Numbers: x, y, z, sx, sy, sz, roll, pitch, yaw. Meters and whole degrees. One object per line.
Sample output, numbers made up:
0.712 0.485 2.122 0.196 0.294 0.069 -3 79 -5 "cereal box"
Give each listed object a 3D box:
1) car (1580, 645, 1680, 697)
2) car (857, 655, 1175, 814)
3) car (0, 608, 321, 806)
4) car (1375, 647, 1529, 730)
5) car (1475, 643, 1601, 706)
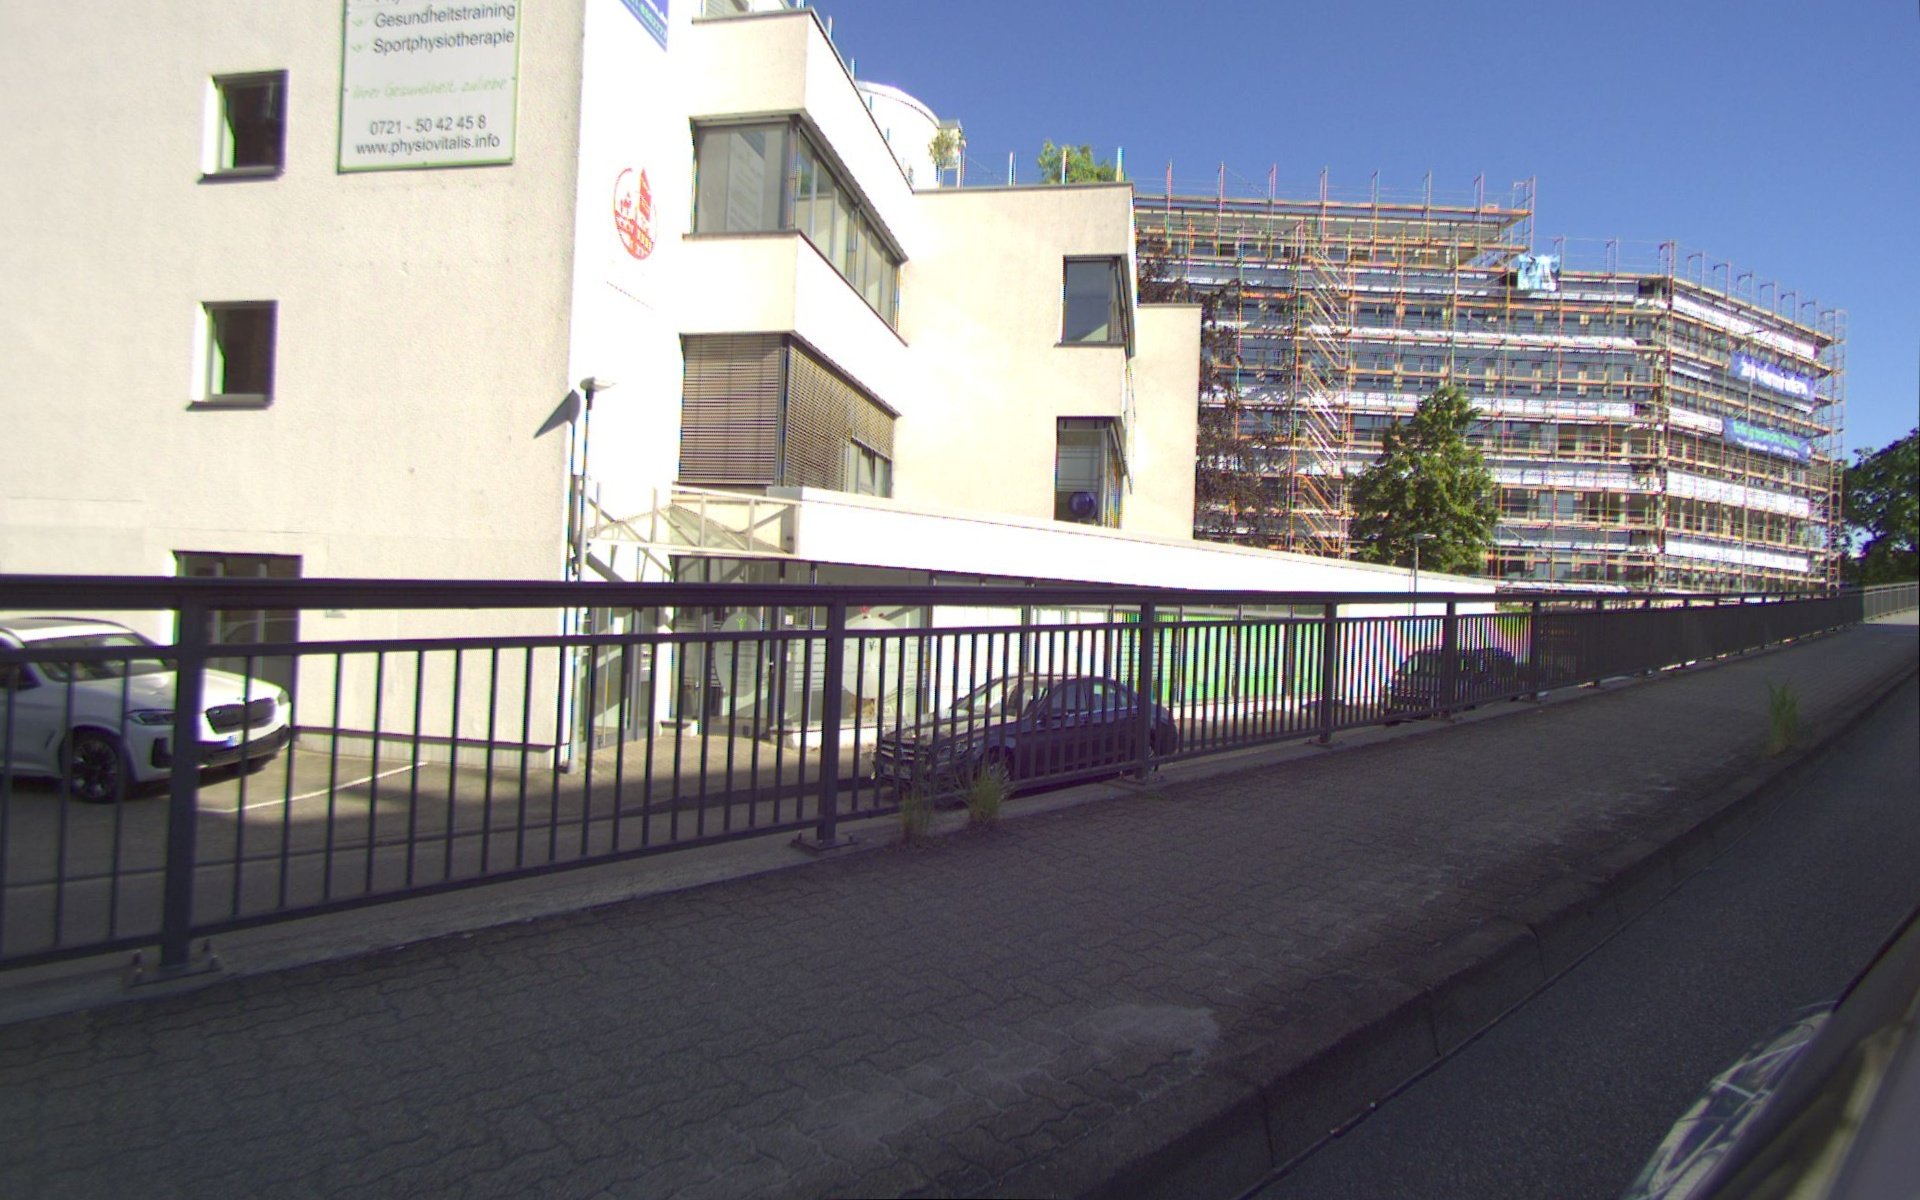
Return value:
21.088 2.175 31.797 3.931 1.410 1.723 1 -1 -42 "car"
0.809 1.548 12.808 3.929 1.541 1.724 1 -1 -41 "car"
-9.557 1.023 10.844 4.455 1.707 1.840 2 0 9 "car"
10.859 1.863 22.227 3.931 1.541 1.723 1 -1 -42 "car"
14.981 1.869 26.157 3.931 1.410 1.723 1 -1 -42 "car"
